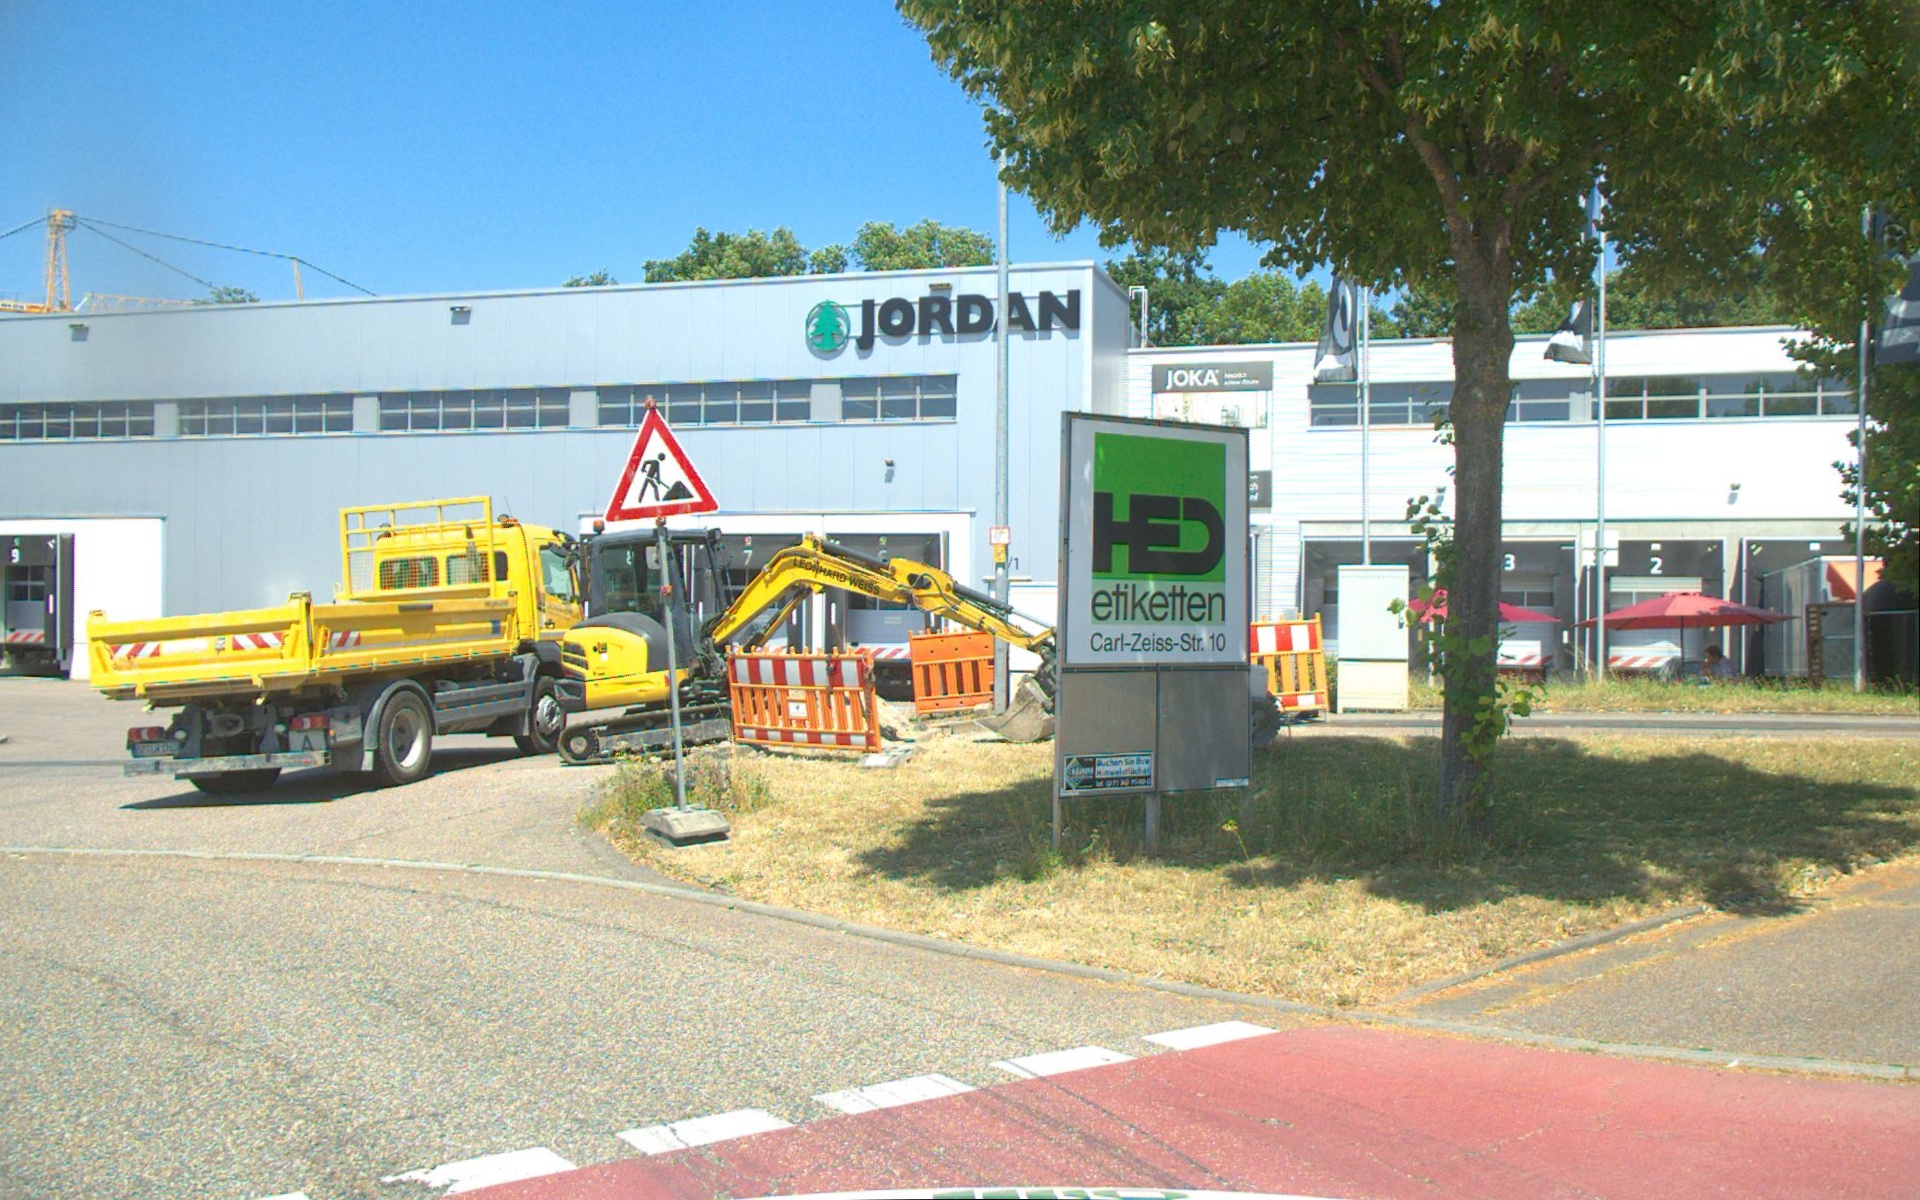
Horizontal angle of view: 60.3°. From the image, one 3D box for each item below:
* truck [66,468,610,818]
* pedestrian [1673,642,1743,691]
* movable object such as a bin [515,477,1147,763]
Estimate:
[{"bbox_3d":[-6.570,0.344,18.734,2.532,3.190,6.431,-3,1,12],"label":"truck"},{"bbox_3d":[11.006,0.976,24.331,0.850,0.707,0.405,-2,-2,40],"label":"pedestrian"},{"bbox_3d":[-1.431,0.321,17.584,6.421,2.626,2.000,-3,-2,21],"label":"movable object such as a bin"}]
